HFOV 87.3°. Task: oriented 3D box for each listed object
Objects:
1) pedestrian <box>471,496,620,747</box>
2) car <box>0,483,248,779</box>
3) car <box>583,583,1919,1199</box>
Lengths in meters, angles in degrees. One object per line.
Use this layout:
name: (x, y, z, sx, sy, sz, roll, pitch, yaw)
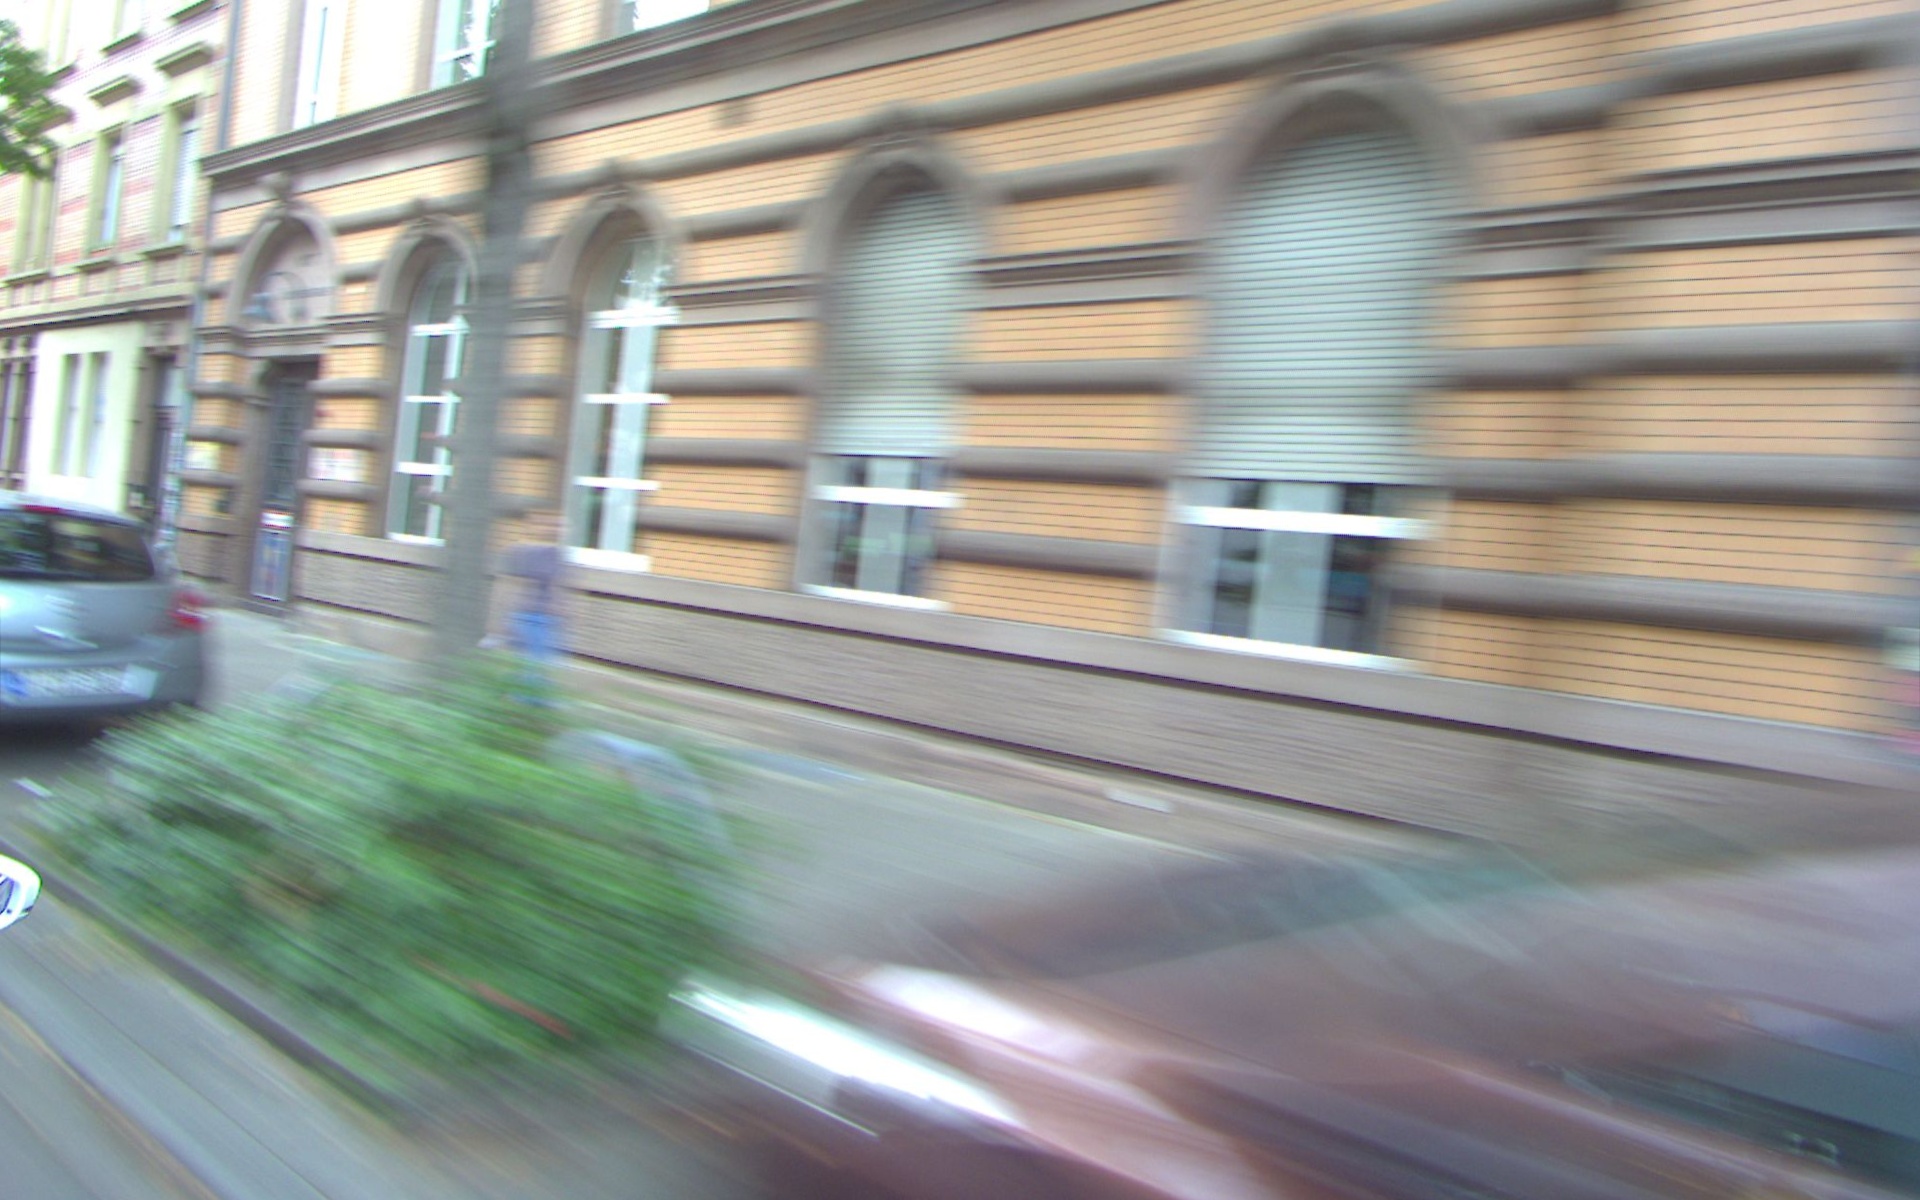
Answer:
pedestrian: (-2.938, 0.157, 7.148, 0.523, 1.669, 0.627, 8, 1, 32)
car: (-6.480, -0.015, 6.354, 3.932, 1.502, 1.698, 7, 2, 30)
car: (1.602, 0.951, 1.286, 4.145, 1.468, 1.723, 7, 1, 32)
